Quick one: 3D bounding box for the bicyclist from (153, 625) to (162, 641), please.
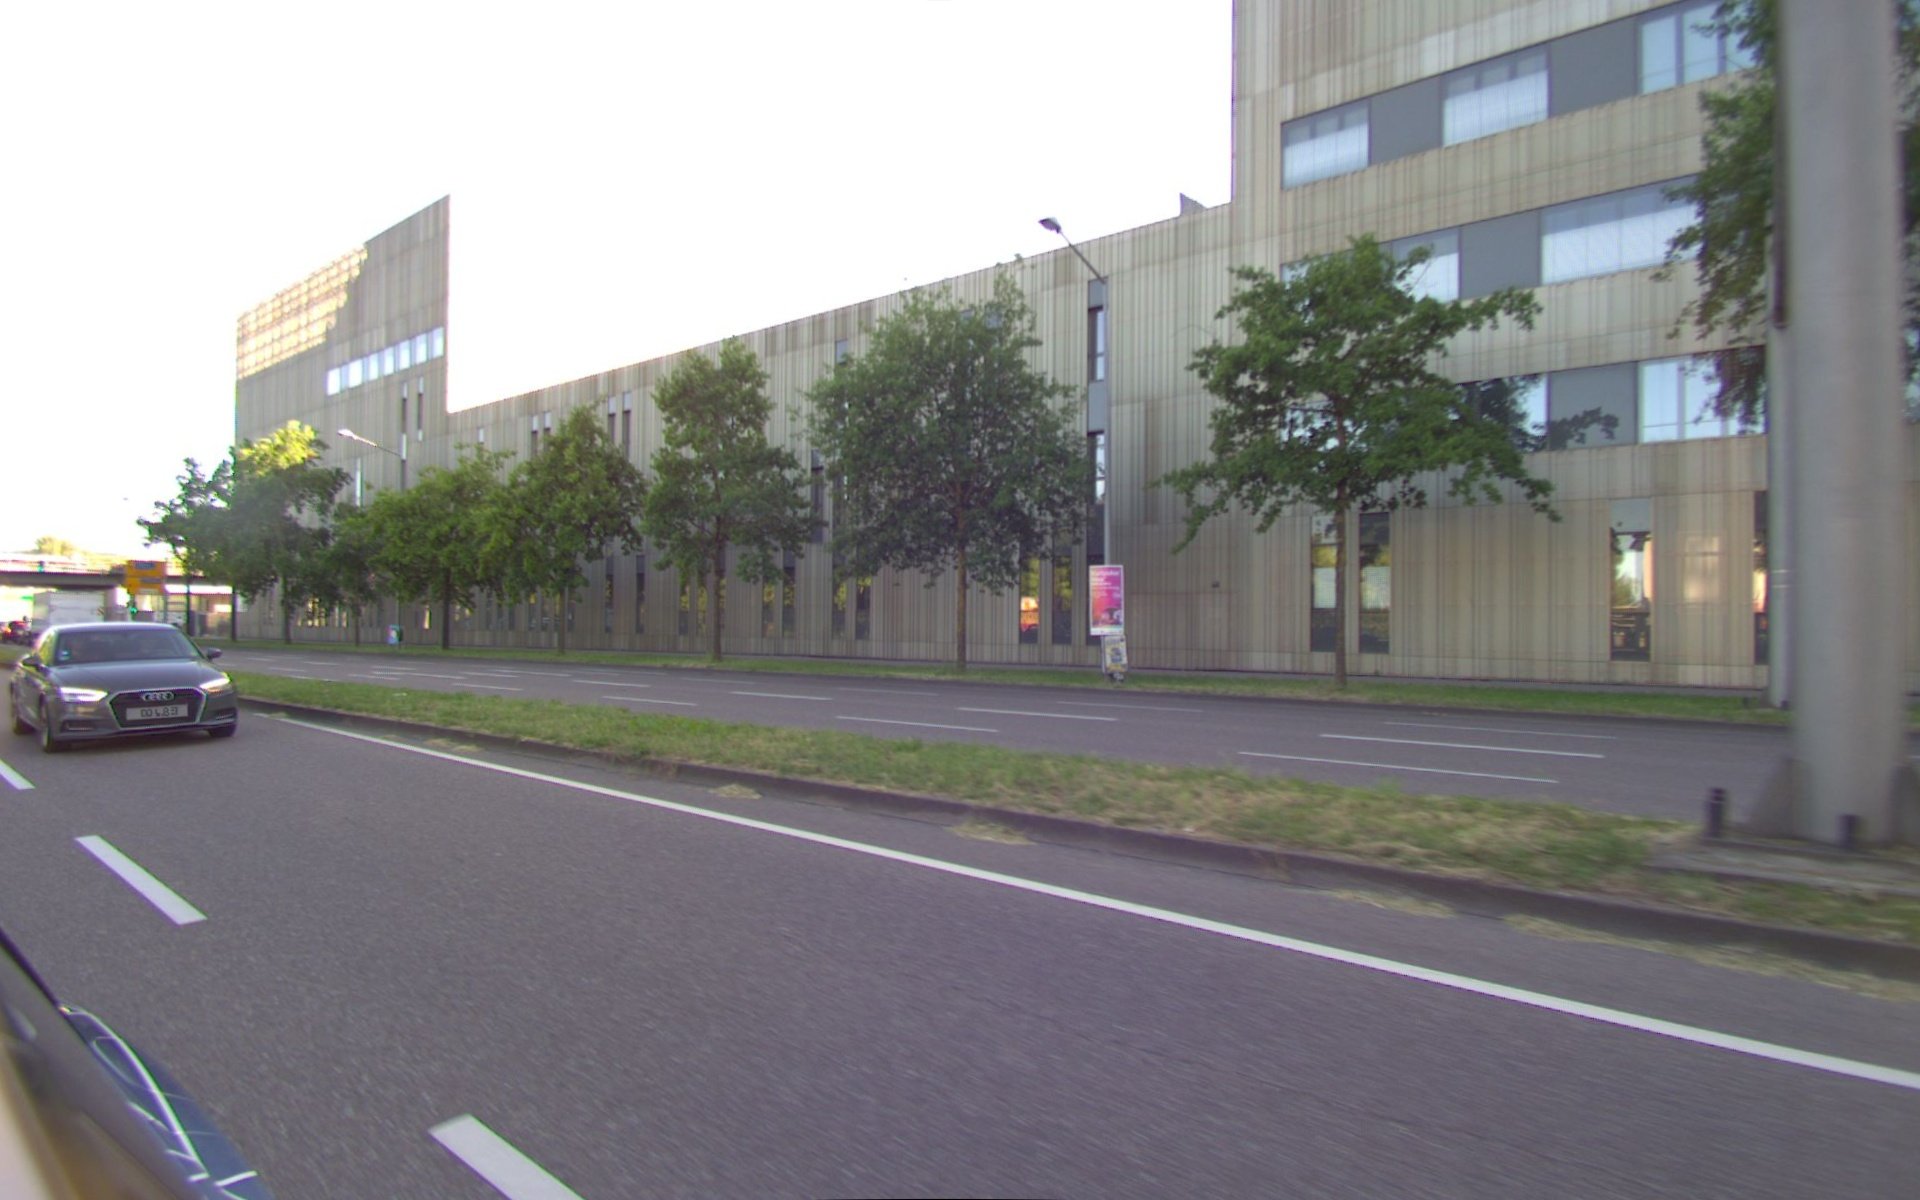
[{"bbox_3d":[-72.773,2.953,91.779,0.752,1.453,0.502,-2,-2,38],"label":"bicyclist"}]

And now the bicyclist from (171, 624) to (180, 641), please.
[{"bbox_3d":[-70.727,2.915,91.227,0.644,1.518,0.502,-2,-2,38],"label":"bicyclist"}]

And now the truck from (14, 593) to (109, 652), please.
[{"bbox_3d":[-48.305,1.245,54.349,7.108,2.983,2.659,-1,-4,40],"label":"truck"}]

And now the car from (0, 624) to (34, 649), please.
[{"bbox_3d":[-59.418,2.282,63.347,3.636,1.481,1.604,-1,-4,40],"label":"car"}]

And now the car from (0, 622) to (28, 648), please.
[{"bbox_3d":[-63.370,2.298,67.029,3.996,1.669,1.823,0,-3,40],"label":"car"}]

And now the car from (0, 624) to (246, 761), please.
[{"bbox_3d":[-10.578,1.005,12.532,4.360,1.415,1.681,-1,-2,39],"label":"car"}]

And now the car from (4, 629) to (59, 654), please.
[{"bbox_3d":[-54.965,2.475,59.882,3.995,1.435,1.817,-2,-4,39],"label":"car"}]

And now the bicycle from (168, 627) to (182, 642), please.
[{"bbox_3d":[-70.791,3.108,91.278,2.097,1.280,0.507,-1,-2,39],"label":"bicycle"}]
